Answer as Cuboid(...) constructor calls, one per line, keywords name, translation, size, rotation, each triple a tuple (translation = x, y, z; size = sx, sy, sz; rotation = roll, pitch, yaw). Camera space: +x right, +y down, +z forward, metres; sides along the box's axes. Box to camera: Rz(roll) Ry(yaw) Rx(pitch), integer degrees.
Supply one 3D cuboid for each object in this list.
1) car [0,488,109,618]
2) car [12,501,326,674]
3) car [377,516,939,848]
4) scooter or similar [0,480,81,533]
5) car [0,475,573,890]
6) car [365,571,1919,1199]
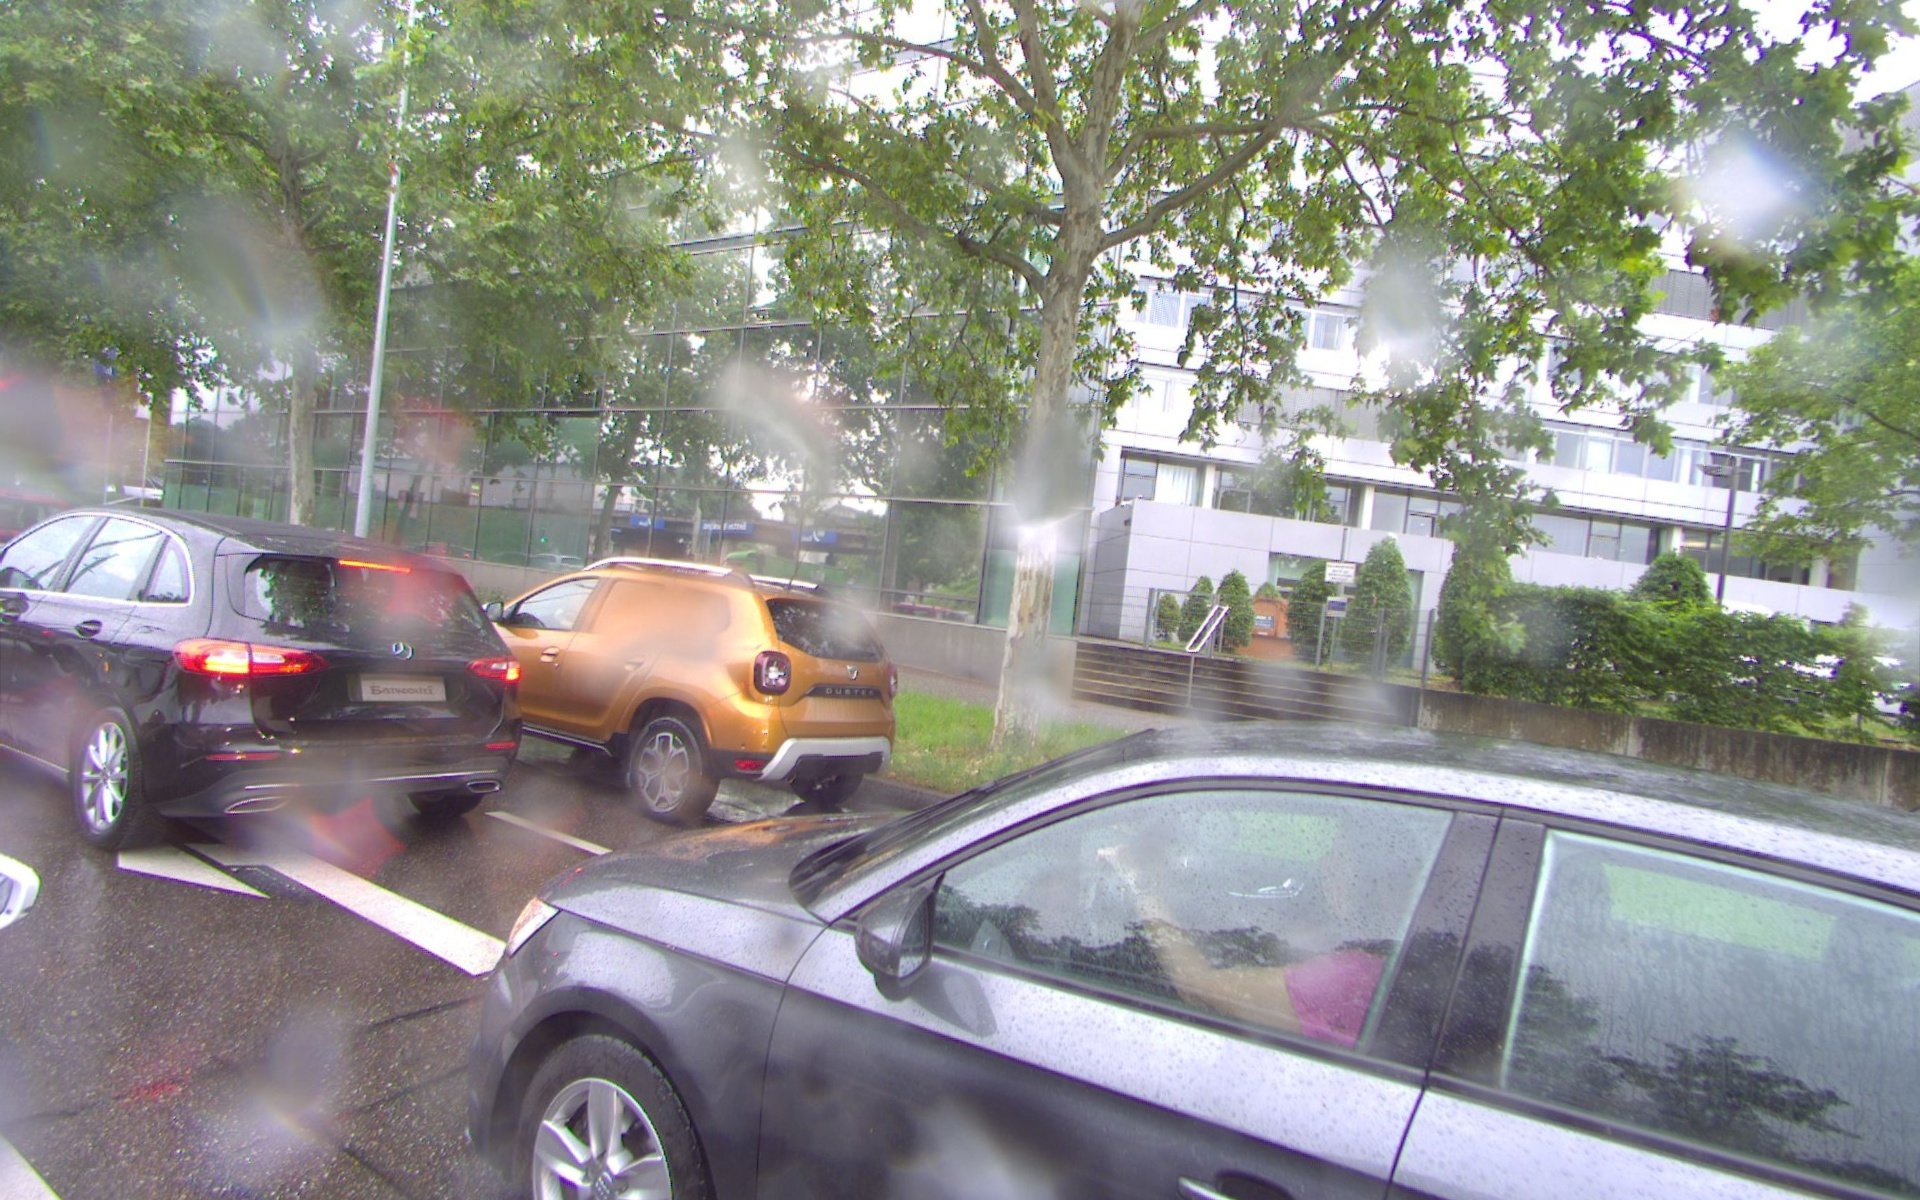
Cuboid(name="car", translation=(-15.048, -0.850, 15.414), size=(4.201, 1.714, 1.714), rotation=(6, -2, 32))
Cuboid(name="car", translation=(-8.941, -0.153, 11.333), size=(3.332, 1.480, 1.572), rotation=(7, -1, 31))
Cuboid(name="car", translation=(-2.420, 0.491, 7.738), size=(4.079, 1.704, 1.679), rotation=(8, -2, 32))
Cuboid(name="scooter or similar", translation=(-54.536, -5.526, 58.148), size=(5.228, 2.476, 1.893), rotation=(7, 0, -9))
Cuboid(name="car", translation=(-4.352, 0.243, 5.761), size=(4.022, 1.573, 1.751), rotation=(7, -1, 31))
Cuboid(name="car", translation=(0.682, 0.909, 2.119), size=(3.718, 1.445, 1.679), rotation=(7, -1, 31))
